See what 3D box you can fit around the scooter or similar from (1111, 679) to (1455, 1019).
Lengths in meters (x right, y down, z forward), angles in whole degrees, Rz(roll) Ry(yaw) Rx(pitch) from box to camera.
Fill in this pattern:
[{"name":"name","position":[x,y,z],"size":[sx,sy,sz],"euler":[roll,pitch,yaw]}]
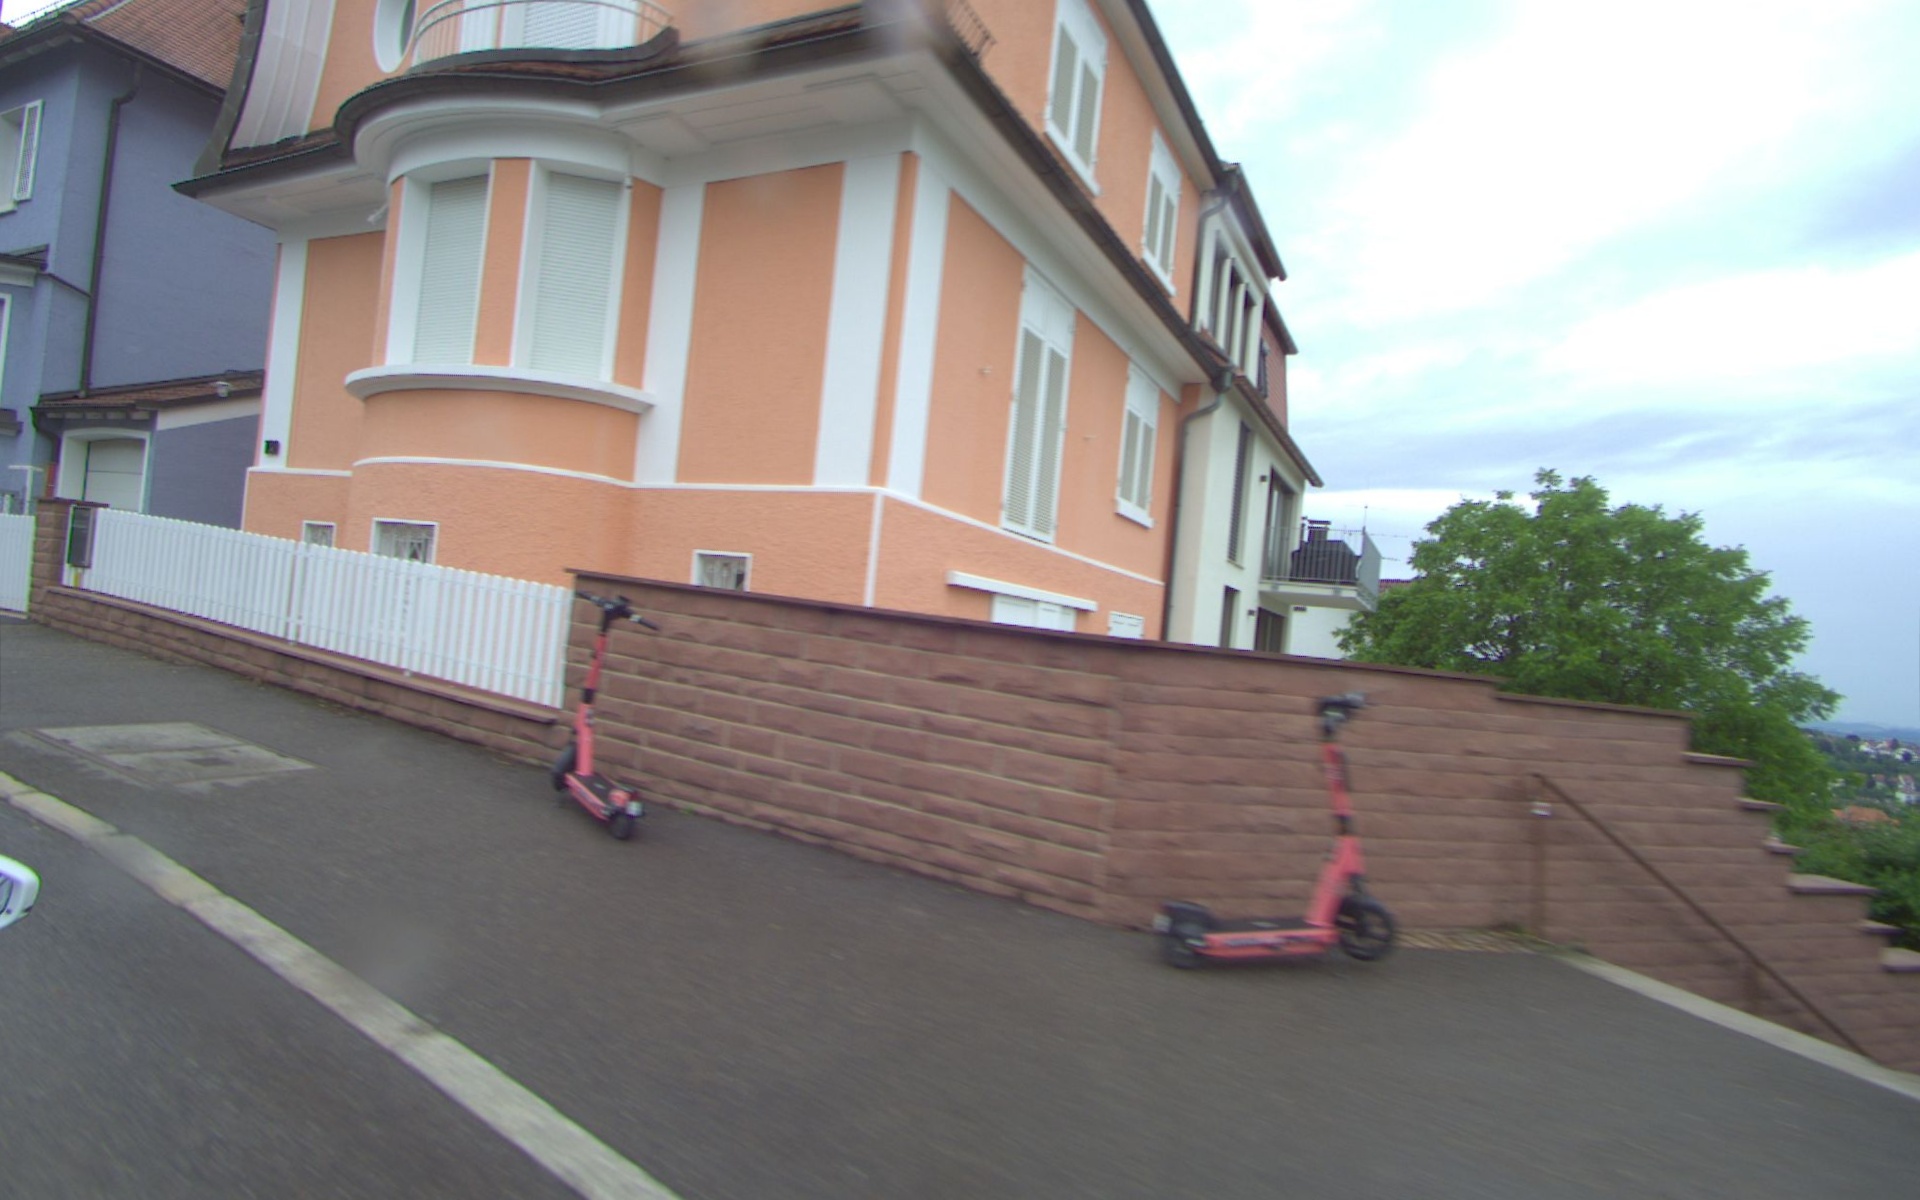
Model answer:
[{"name":"scooter or similar","position":[1.437,1.040,4.485],"size":[1.247,1.240,0.690],"euler":[5,1,-29]}]

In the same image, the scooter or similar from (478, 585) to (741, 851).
[{"name":"scooter or similar","position":[-2.021,0.628,5.766],"size":[1.279,1.239,0.693],"euler":[8,0,37]}]
